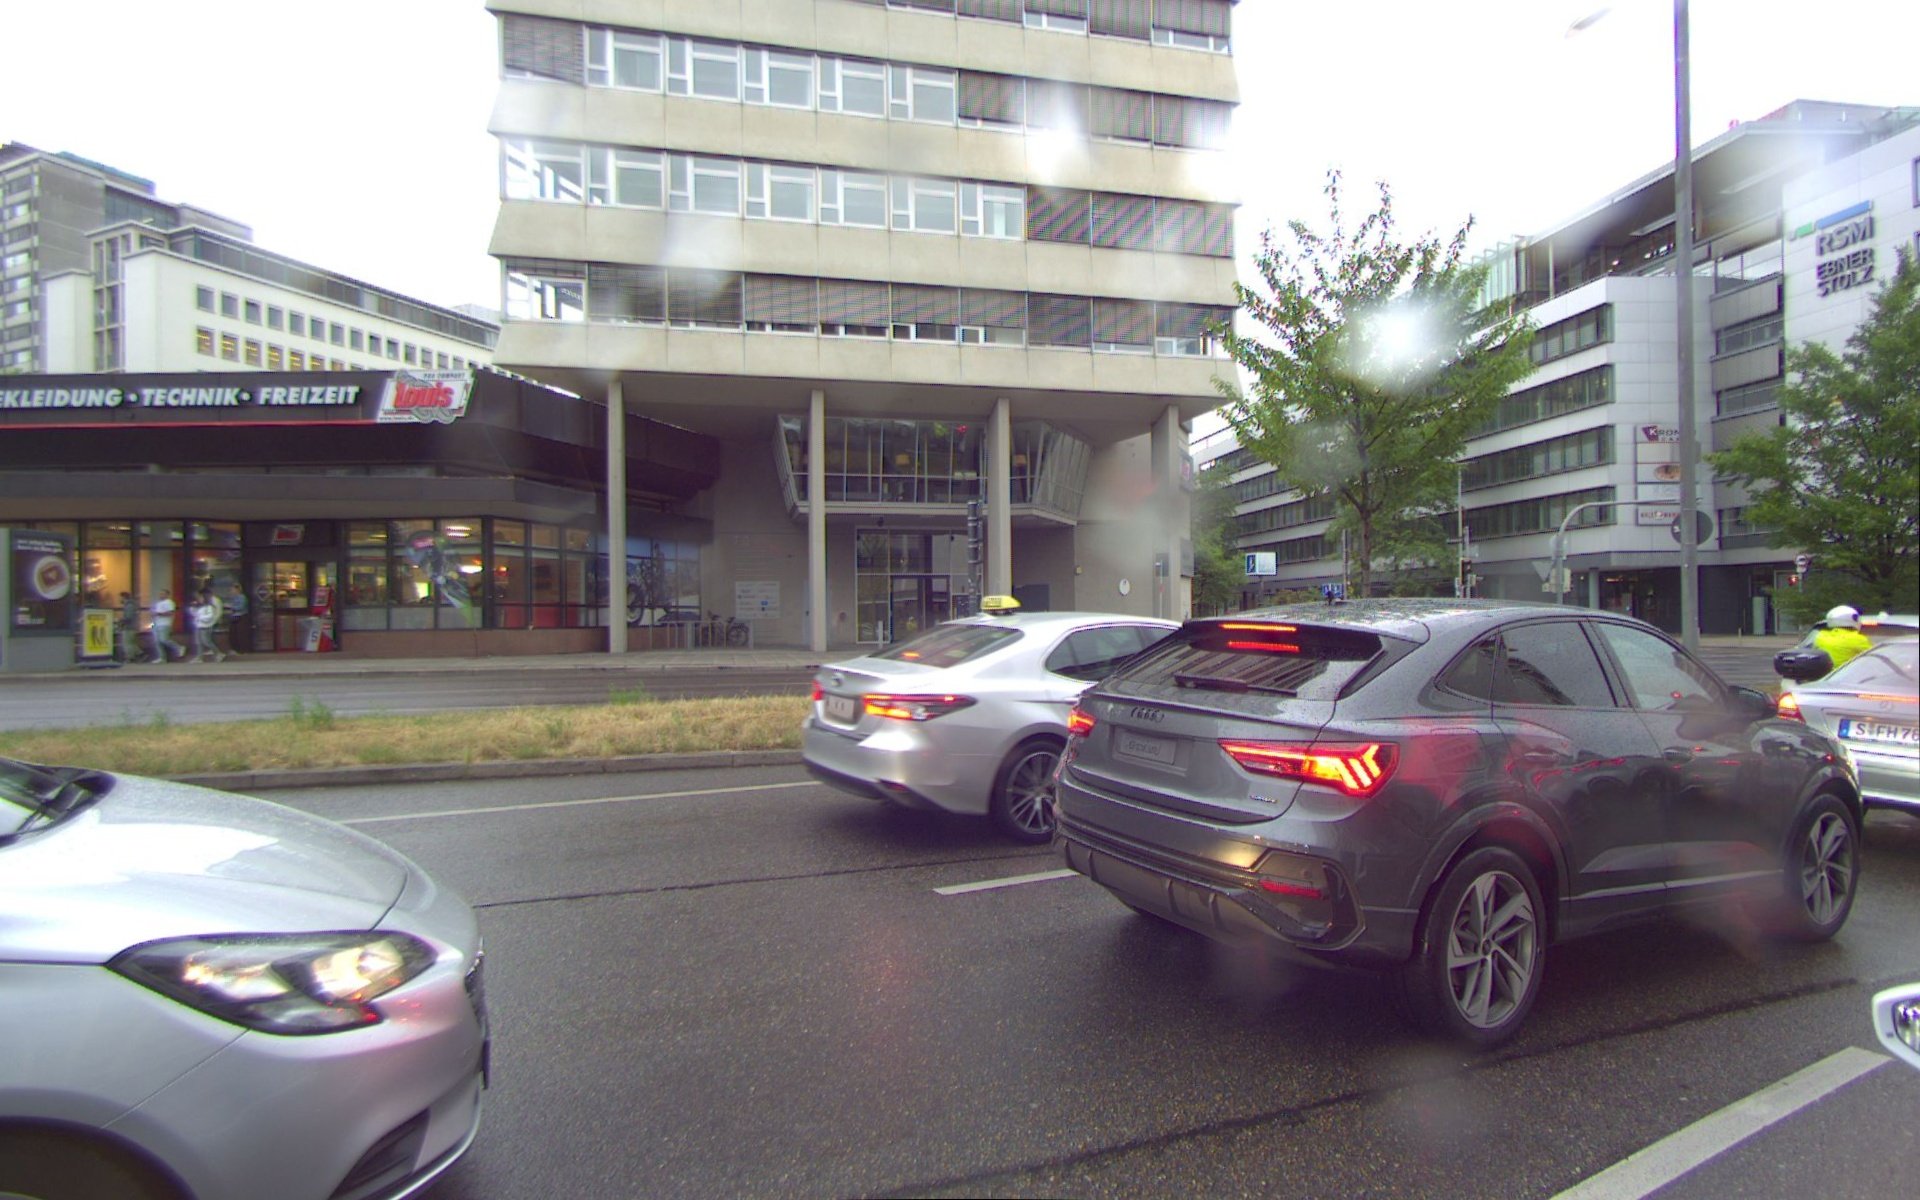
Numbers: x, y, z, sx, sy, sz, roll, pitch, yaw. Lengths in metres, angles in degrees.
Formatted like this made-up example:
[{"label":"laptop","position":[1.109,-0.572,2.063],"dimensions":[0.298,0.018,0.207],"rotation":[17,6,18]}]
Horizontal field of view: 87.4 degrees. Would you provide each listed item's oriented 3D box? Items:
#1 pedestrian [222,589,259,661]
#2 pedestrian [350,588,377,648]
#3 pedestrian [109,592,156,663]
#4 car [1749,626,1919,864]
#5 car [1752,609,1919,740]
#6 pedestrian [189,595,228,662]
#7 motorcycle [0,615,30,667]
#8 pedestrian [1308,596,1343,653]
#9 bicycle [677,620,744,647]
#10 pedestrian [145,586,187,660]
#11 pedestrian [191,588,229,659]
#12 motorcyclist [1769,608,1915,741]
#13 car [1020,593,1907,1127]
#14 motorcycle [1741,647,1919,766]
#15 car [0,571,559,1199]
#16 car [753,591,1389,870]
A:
[{"label":"pedestrian","position":[-17.916,0.608,25.031],"dimensions":[0.548,1.767,0.541],"rotation":[1,0,-9]},{"label":"pedestrian","position":[-17.521,0.515,29.511],"dimensions":[0.436,1.741,0.509],"rotation":[1,0,3]},{"label":"pedestrian","position":[-19.303,0.628,23.443],"dimensions":[0.601,1.633,0.614],"rotation":[1,0,-9]},{"label":"car","position":[7.683,0.956,7.054],"dimensions":[4.050,1.426,1.567],"rotation":[2,0,-22]},{"label":"car","position":[12.640,0.930,13.204],"dimensions":[3.940,1.506,1.704],"rotation":[2,0,-21]},{"label":"pedestrian","position":[-18.155,0.685,24.282],"dimensions":[0.548,1.591,0.541],"rotation":[1,0,-9]},{"label":"motorcycle","position":[-23.523,0.984,24.184],"dimensions":[0.353,1.249,1.669],"rotation":[1,0,20]},{"label":"pedestrian","position":[11.257,0.754,30.940],"dimensions":[0.668,1.706,0.761],"rotation":[1,1,-16]},{"label":"bicycle","position":[-8.434,1.125,34.013],"dimensions":[2.165,0.871,0.456],"rotation":[2,0,-31]},{"label":"pedestrian","position":[-19.296,0.552,24.422],"dimensions":[0.548,1.767,0.614],"rotation":[1,0,-9]},{"label":"pedestrian","position":[-18.721,0.584,25.072],"dimensions":[0.548,1.767,0.541],"rotation":[1,0,-9]},{"label":"motorcyclist","position":[9.803,0.809,11.174],"dimensions":[1.101,1.398,0.769],"rotation":[2,0,-21]},{"label":"car","position":[2.493,0.780,4.680],"dimensions":[4.220,1.542,1.640],"rotation":[1,0,-30]},{"label":"motorcycle","position":[9.803,1.162,11.201],"dimensions":[1.998,1.200,0.799],"rotation":[2,0,-21]},{"label":"car","position":[-2.851,0.659,1.692],"dimensions":[3.831,1.455,1.639],"rotation":[1,0,-32]},{"label":"car","position":[1.003,0.753,7.661],"dimensions":[4.725,1.554,1.854],"rotation":[1,0,-33]}]
